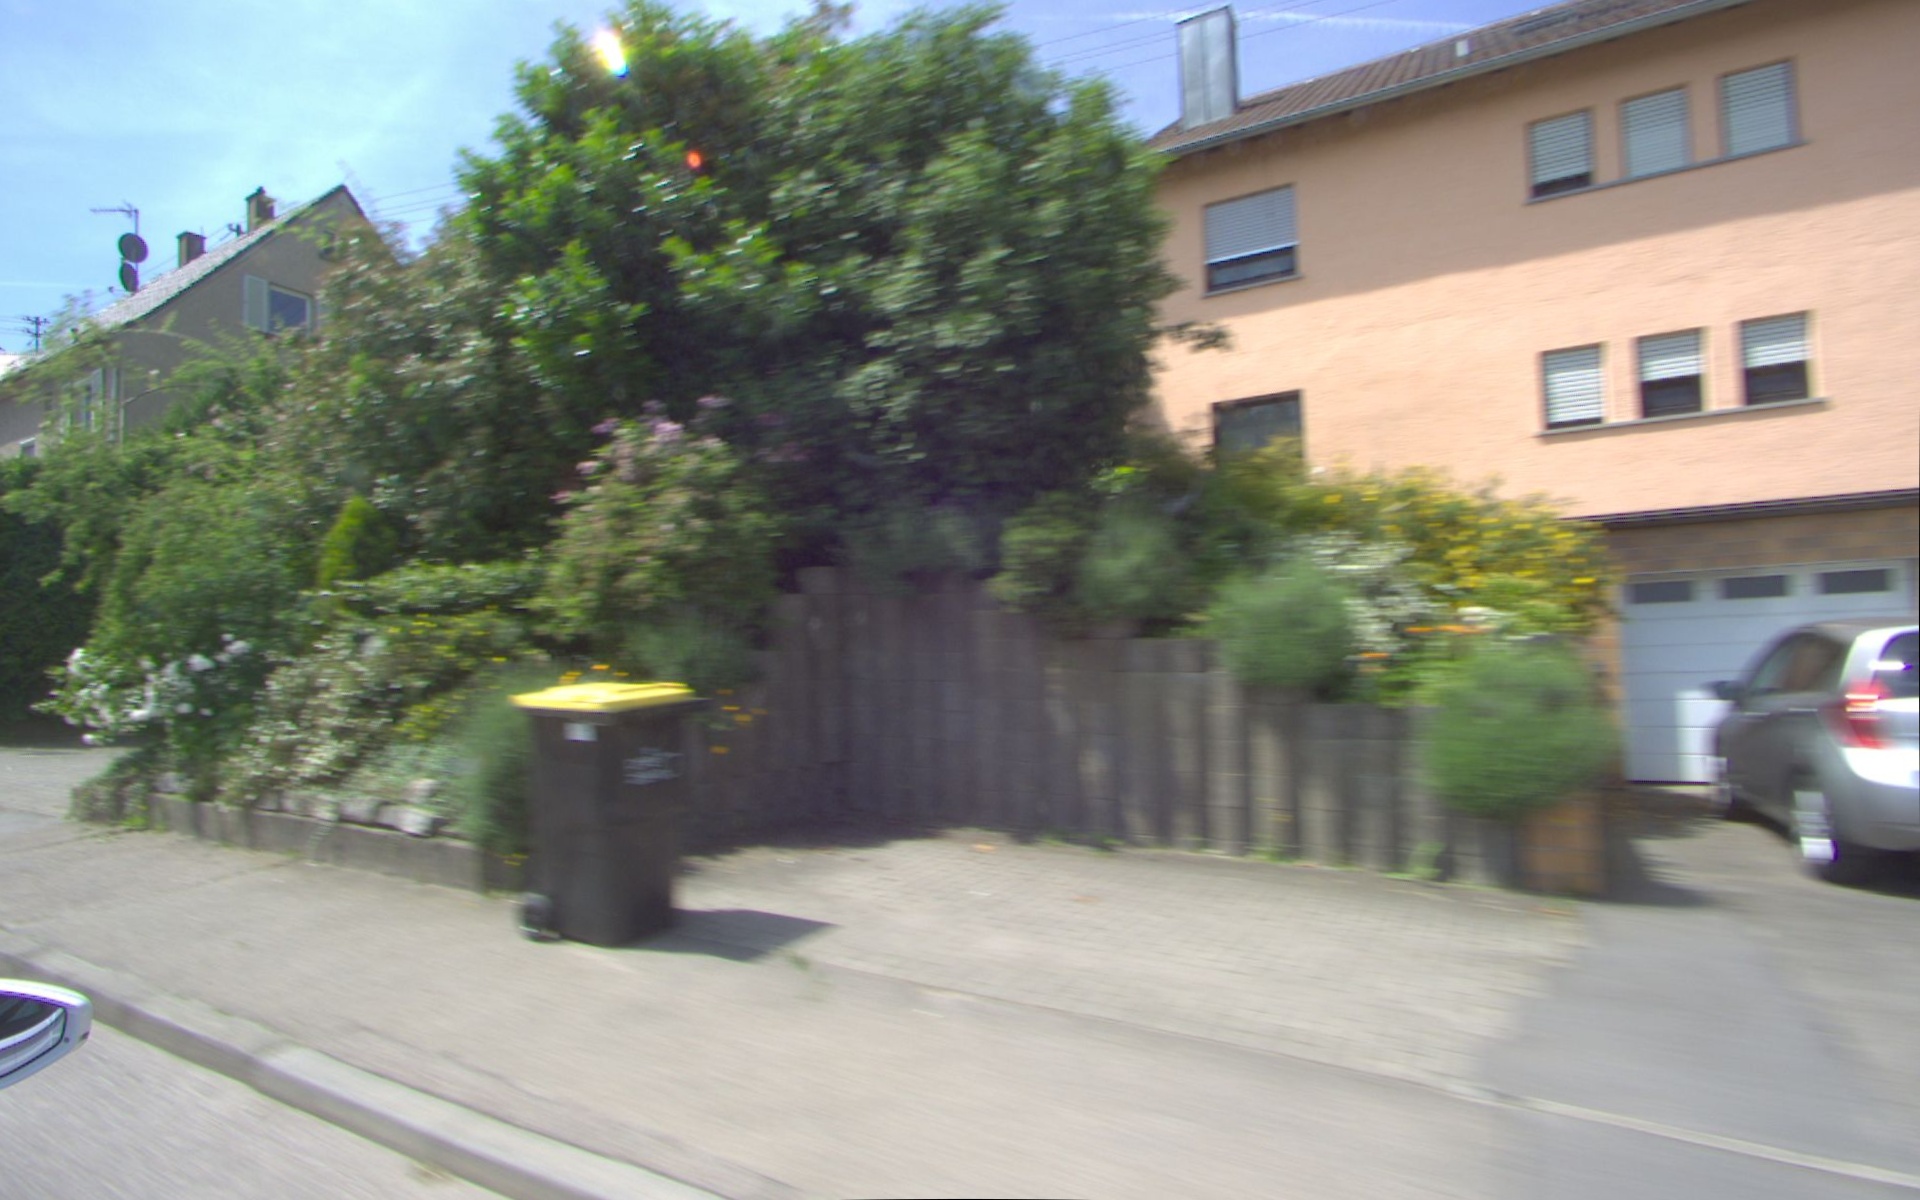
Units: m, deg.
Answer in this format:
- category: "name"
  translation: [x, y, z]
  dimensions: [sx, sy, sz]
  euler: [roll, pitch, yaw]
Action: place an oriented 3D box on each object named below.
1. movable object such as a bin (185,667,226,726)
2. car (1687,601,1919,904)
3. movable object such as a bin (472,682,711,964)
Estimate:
- category: "movable object such as a bin"
  translation: [-12.923, 1.642, 17.147]
  dimensions: [0.466, 0.985, 0.386]
  euler: [-1, -3, 30]
- category: "car"
  translation: [6.101, 0.869, 6.408]
  dimensions: [1.808, 1.517, 3.643]
  euler: [-1, -4, 28]
- category: "movable object such as a bin"
  translation: [-1.654, 0.931, 4.496]
  dimensions: [0.906, 1.072, 0.587]
  euler: [-1, -1, 33]
